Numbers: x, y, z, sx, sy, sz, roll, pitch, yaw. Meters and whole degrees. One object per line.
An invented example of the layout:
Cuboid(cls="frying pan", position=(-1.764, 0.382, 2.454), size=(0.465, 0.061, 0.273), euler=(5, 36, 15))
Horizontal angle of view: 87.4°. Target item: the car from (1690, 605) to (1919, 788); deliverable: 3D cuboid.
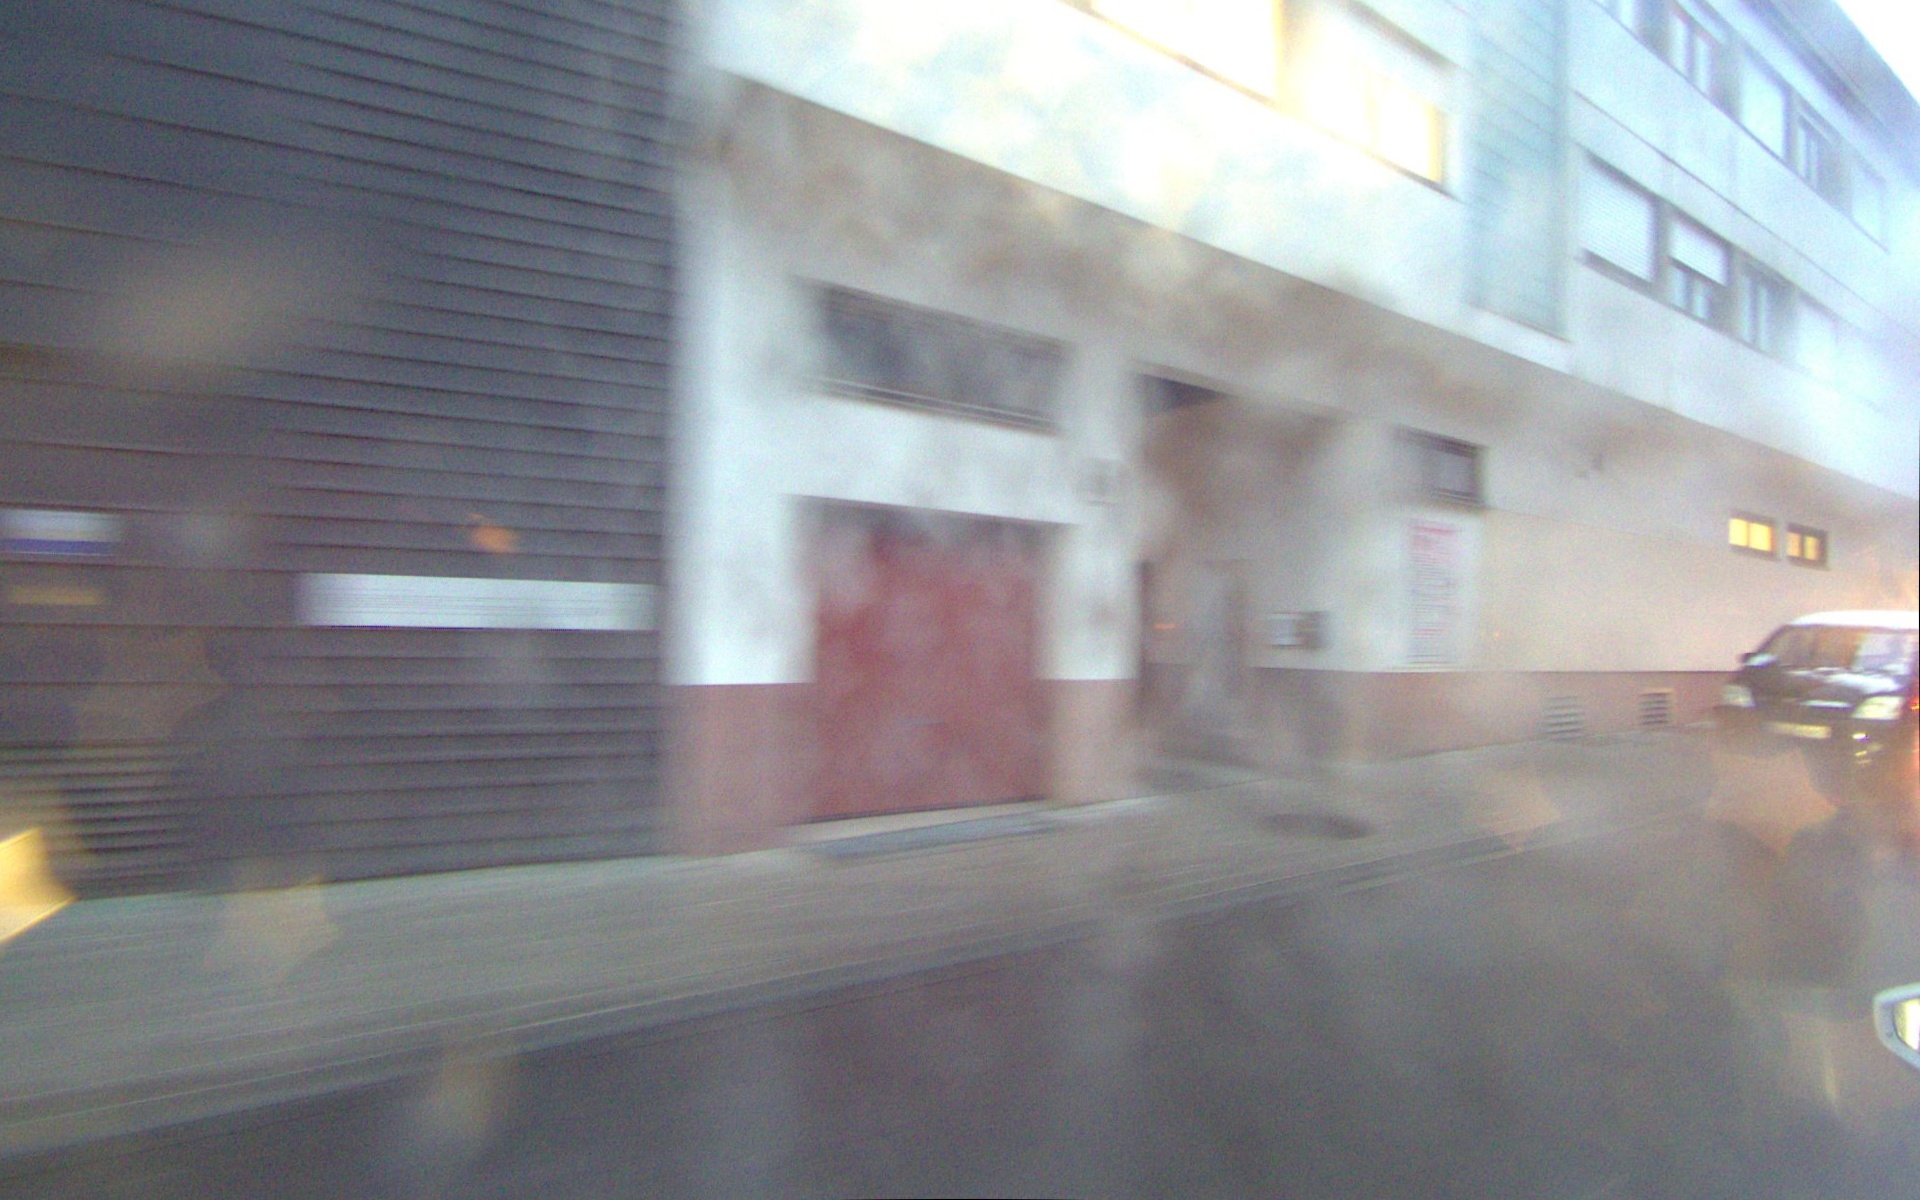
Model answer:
Cuboid(cls="car", position=(9.903, 0.924, 11.094), size=(3.772, 1.664, 1.783), euler=(1, 0, -34))
